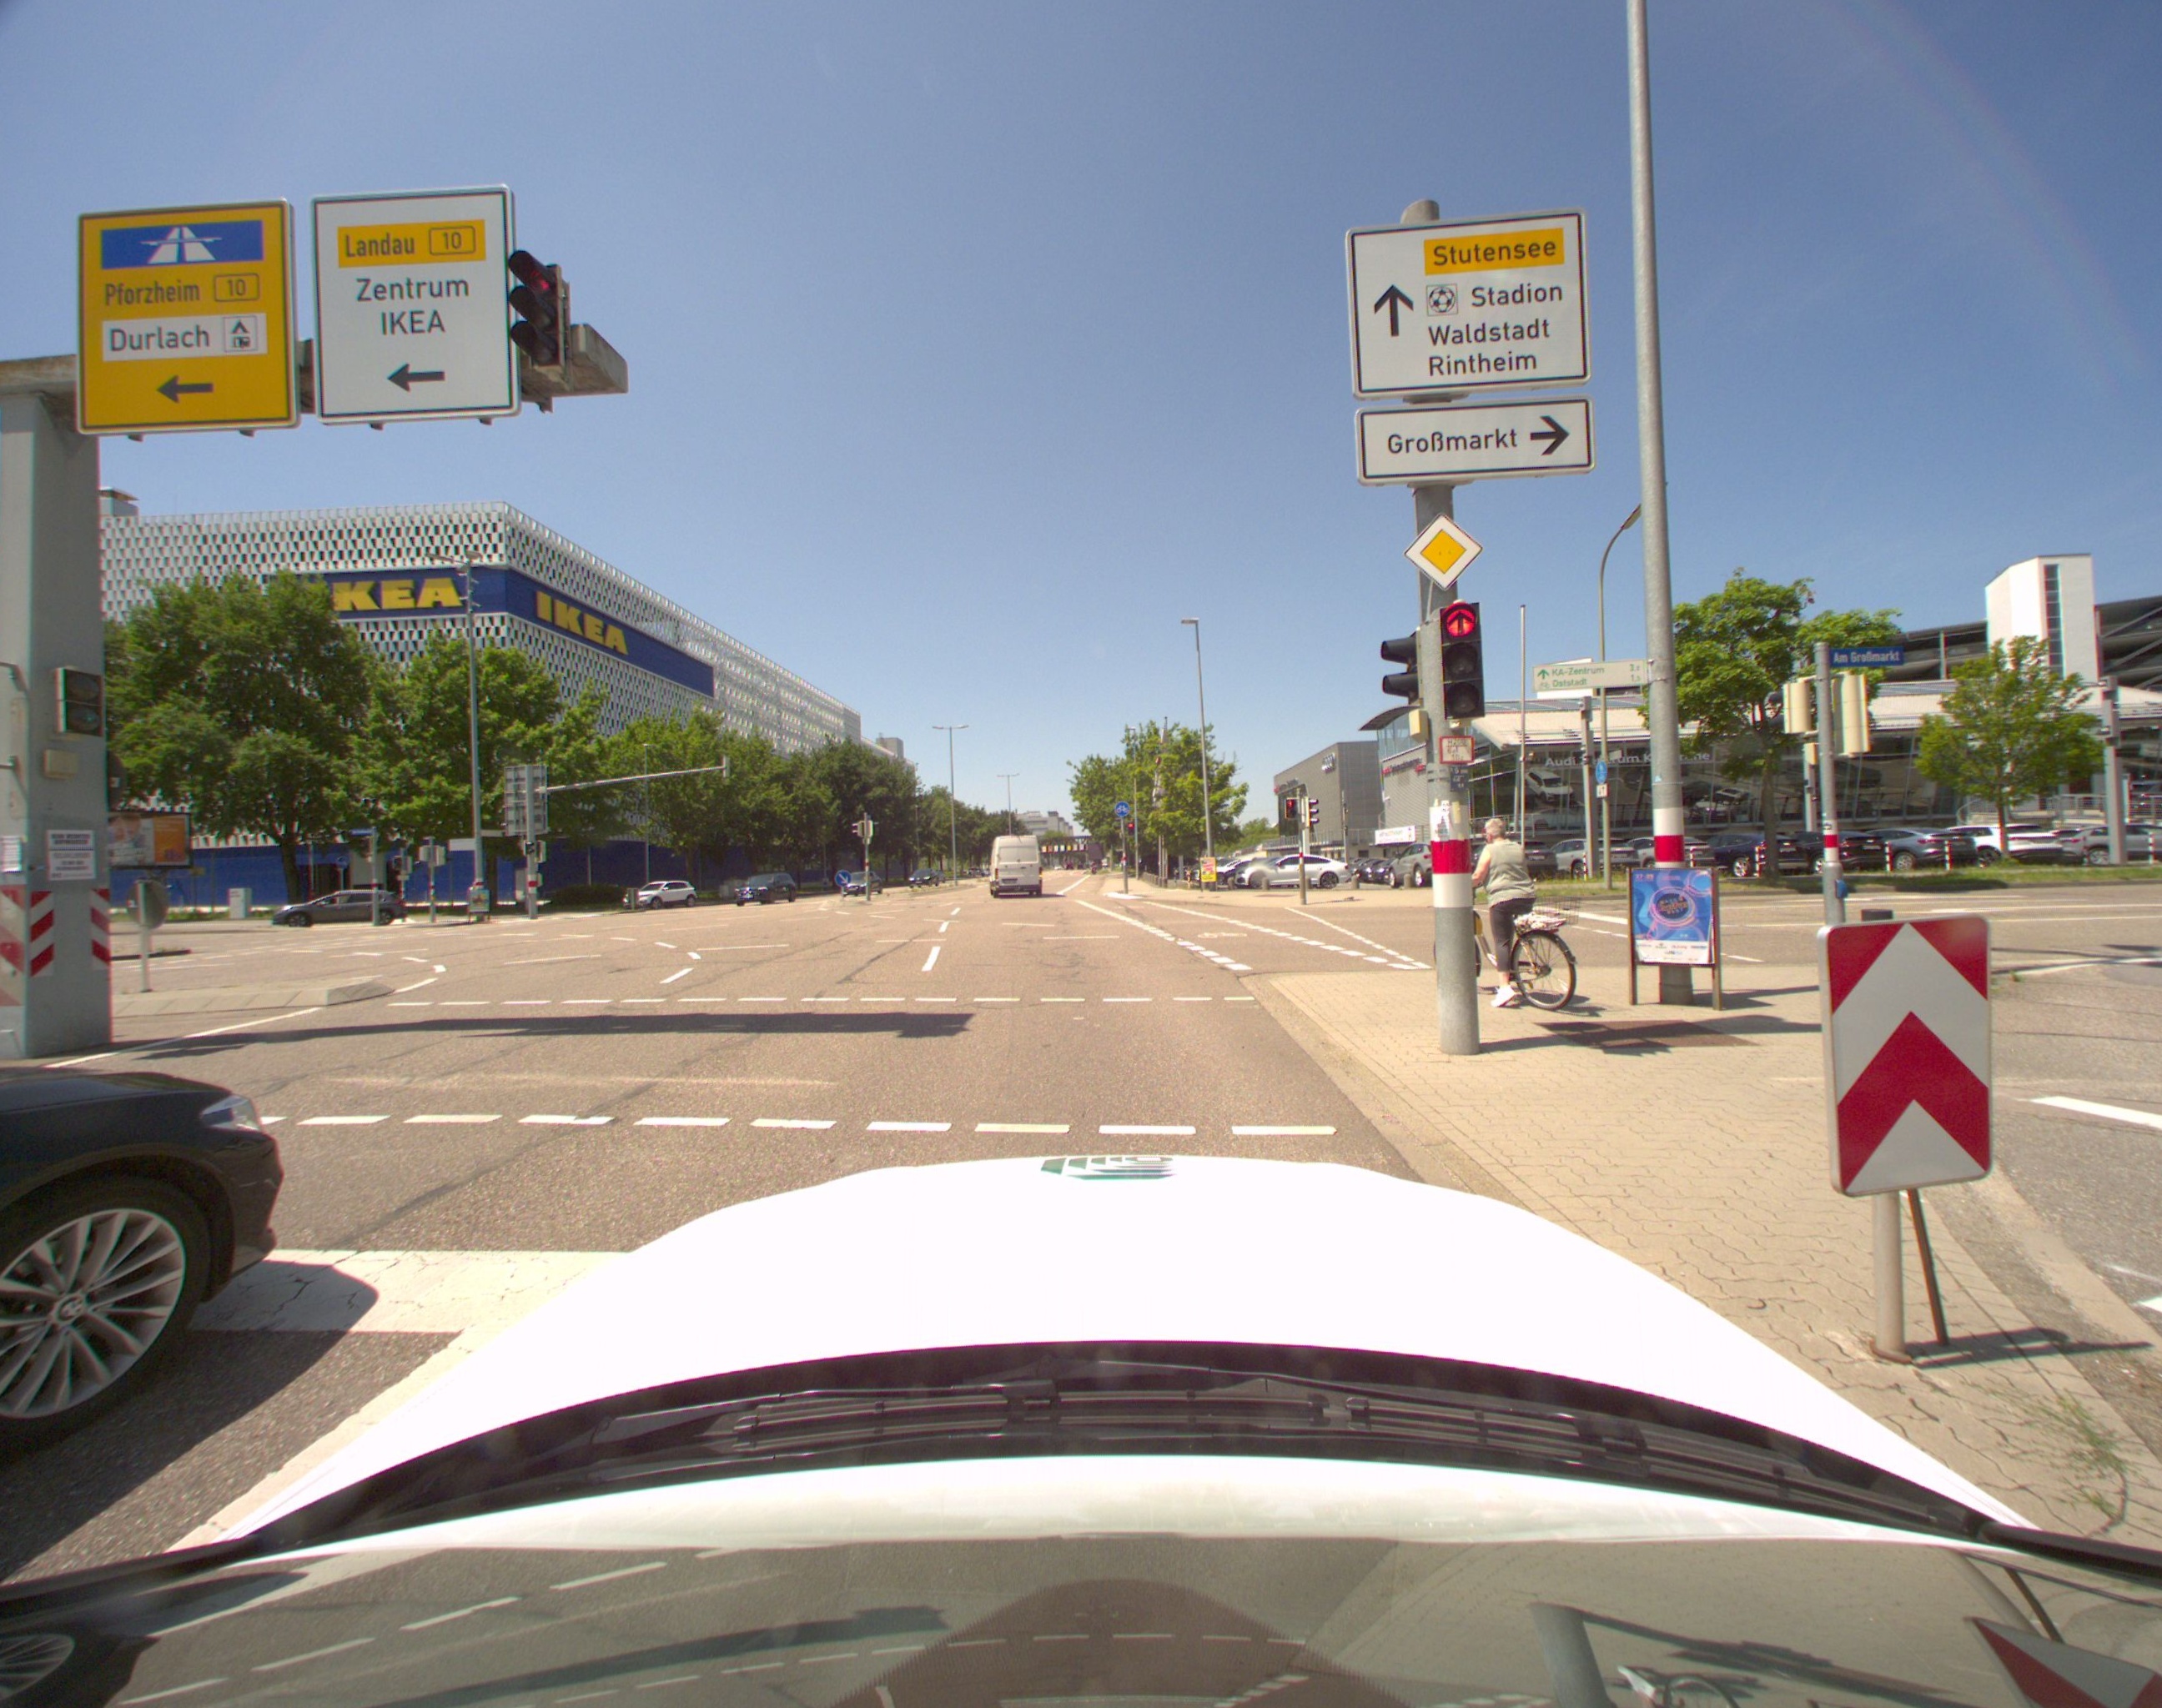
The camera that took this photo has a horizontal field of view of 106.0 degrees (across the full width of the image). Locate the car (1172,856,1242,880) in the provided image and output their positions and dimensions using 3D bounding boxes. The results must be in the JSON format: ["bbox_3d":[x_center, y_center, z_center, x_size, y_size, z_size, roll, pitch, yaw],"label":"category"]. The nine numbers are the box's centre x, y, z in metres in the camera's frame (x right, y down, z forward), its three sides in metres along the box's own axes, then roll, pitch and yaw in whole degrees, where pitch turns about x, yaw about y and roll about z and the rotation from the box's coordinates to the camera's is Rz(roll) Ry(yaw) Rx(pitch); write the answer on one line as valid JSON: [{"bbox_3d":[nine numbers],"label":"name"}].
[{"bbox_3d":[9.069,0.977,58.769,4.726,1.457,2.000,-3,0,0],"label":"car"}]

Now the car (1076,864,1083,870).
[{"bbox_3d":[-0.526,3.598,226.013,1.765,1.728,4.001,-3,-1,2],"label":"car"}]

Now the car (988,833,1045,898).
[{"bbox_3d":[-2.890,0.484,35.301,2.094,2.534,5.784,-1,-1,-8],"label":"car"}]

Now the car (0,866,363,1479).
[{"bbox_3d":[-3.542,0.789,0.629,1.793,1.466,4.624,-1,0,1],"label":"car"}]

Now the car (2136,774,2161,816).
[{"bbox_3d":[54.888,-3.018,39.557,1.989,2.014,3.995,-2,-1,-3],"label":"car"}]

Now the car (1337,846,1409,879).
[{"bbox_3d":[19.341,0.567,54.074,3.971,2.014,2.001,-2,-1,2],"label":"car"}]

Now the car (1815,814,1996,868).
[{"bbox_3d":[28.567,-0.423,28.470,1.821,1.639,4.476,-3,0,2],"label":"car"}]

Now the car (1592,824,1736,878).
[{"bbox_3d":[20.339,-0.106,28.690,1.878,1.639,4.526,-3,0,2],"label":"car"}]

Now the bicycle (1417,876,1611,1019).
[{"bbox_3d":[4.052,0.813,7.838,0.784,1.127,1.919,-1,0,-2],"label":"bicycle"}]

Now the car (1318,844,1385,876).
[{"bbox_3d":[18.747,0.417,56.562,3.971,2.014,2.001,-2,-1,2],"label":"car"}]

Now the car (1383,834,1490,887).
[{"bbox_3d":[12.457,0.211,28.847,1.986,1.639,4.270,-2,0,2],"label":"car"}]

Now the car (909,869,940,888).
[{"bbox_3d":[-12.933,2.028,67.399,1.678,1.411,3.666,-3,-1,2],"label":"car"}]

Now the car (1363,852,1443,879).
[{"bbox_3d":[19.297,0.650,48.913,4.076,1.460,1.720,-2,0,2],"label":"car"}]

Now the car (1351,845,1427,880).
[{"bbox_3d":[19.317,0.513,51.257,3.971,2.014,2.001,-2,-1,2],"label":"car"}]

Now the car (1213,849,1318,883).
[{"bbox_3d":[8.970,0.569,39.870,4.721,1.457,2.002,-2,0,3],"label":"car"}]

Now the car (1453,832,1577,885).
[{"bbox_3d":[15.090,0.148,28.654,1.986,1.639,4.559,-2,0,2],"label":"car"}]

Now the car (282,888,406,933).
[{"bbox_3d":[-31.095,2.349,34.510,3.774,1.533,1.755,-3,-1,-40],"label":"car"}]

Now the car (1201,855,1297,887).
[{"bbox_3d":[8.965,0.894,43.705,4.726,1.457,2.000,-2,0,0],"label":"car"}]

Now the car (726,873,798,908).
[{"bbox_3d":[-16.782,1.880,43.120,1.868,1.598,4.498,-3,-1,2],"label":"car"}]

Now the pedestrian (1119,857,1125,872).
[{"bbox_3d":[5.254,1.319,103.428,0.660,1.963,0.759,-2,-1,1],"label":"pedestrian"}]

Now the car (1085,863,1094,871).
[{"bbox_3d":[1.098,1.657,105.529,1.133,1.042,2.309,-2,0,2],"label":"car"}]

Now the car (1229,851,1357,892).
[{"bbox_3d":[8.553,0.681,33.210,4.721,1.457,2.002,-2,0,3],"label":"car"}]

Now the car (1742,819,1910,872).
[{"bbox_3d":[25.885,-0.272,28.545,1.821,1.639,4.476,-3,0,2],"label":"car"}]

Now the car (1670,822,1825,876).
[{"bbox_3d":[23.202,-0.167,28.592,1.821,1.639,4.476,-3,0,2],"label":"car"}]

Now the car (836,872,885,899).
[{"bbox_3d":[-13.335,1.900,49.435,1.725,1.427,3.707,-4,-1,2],"label":"car"}]

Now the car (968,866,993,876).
[{"bbox_3d":[-18.360,3.073,148.694,3.985,1.810,2.009,0,0,16],"label":"car"}]

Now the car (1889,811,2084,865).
[{"bbox_3d":[31.250,-0.523,28.347,1.821,1.639,4.476,-3,0,2],"label":"car"}]

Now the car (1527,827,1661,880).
[{"bbox_3d":[17.937,-0.018,28.766,1.986,1.639,4.443,-3,0,2],"label":"car"}]

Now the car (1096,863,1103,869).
[{"bbox_3d":[5.118,3.385,228.727,1.765,1.728,4.001,-3,-1,2],"label":"car"}]

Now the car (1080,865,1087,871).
[{"bbox_3d":[0.799,4.012,236.536,1.765,1.728,4.001,-3,-1,2],"label":"car"}]

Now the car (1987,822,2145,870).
[{"bbox_3d":[40.300,-0.302,33.459,3.720,1.772,1.781,-3,-1,32],"label":"car"}]

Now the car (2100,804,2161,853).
[{"bbox_3d":[47.198,-1.147,35.095,3.728,2.014,1.866,-2,-1,11],"label":"car"}]

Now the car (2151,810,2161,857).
[{"bbox_3d":[39.459,-0.808,26.863,4.705,1.639,1.844,-3,0,24],"label":"car"}]

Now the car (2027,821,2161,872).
[{"bbox_3d":[39.043,-0.268,30.913,3.665,1.777,1.759,-3,-1,28],"label":"car"}]

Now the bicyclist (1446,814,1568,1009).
[{"bbox_3d":[4.021,0.515,7.738,0.732,1.749,0.753,-1,0,-3],"label":"bicyclist"}]

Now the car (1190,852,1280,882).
[{"bbox_3d":[8.754,0.732,46.500,4.726,1.457,2.000,-2,0,0],"label":"car"}]

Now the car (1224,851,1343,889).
[{"bbox_3d":[8.792,0.699,35.665,4.721,1.457,2.002,-2,-2,3],"label":"car"}]

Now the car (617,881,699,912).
[{"bbox_3d":[-23.355,2.341,45.109,1.609,1.457,4.088,-3,-1,16],"label":"car"}]
